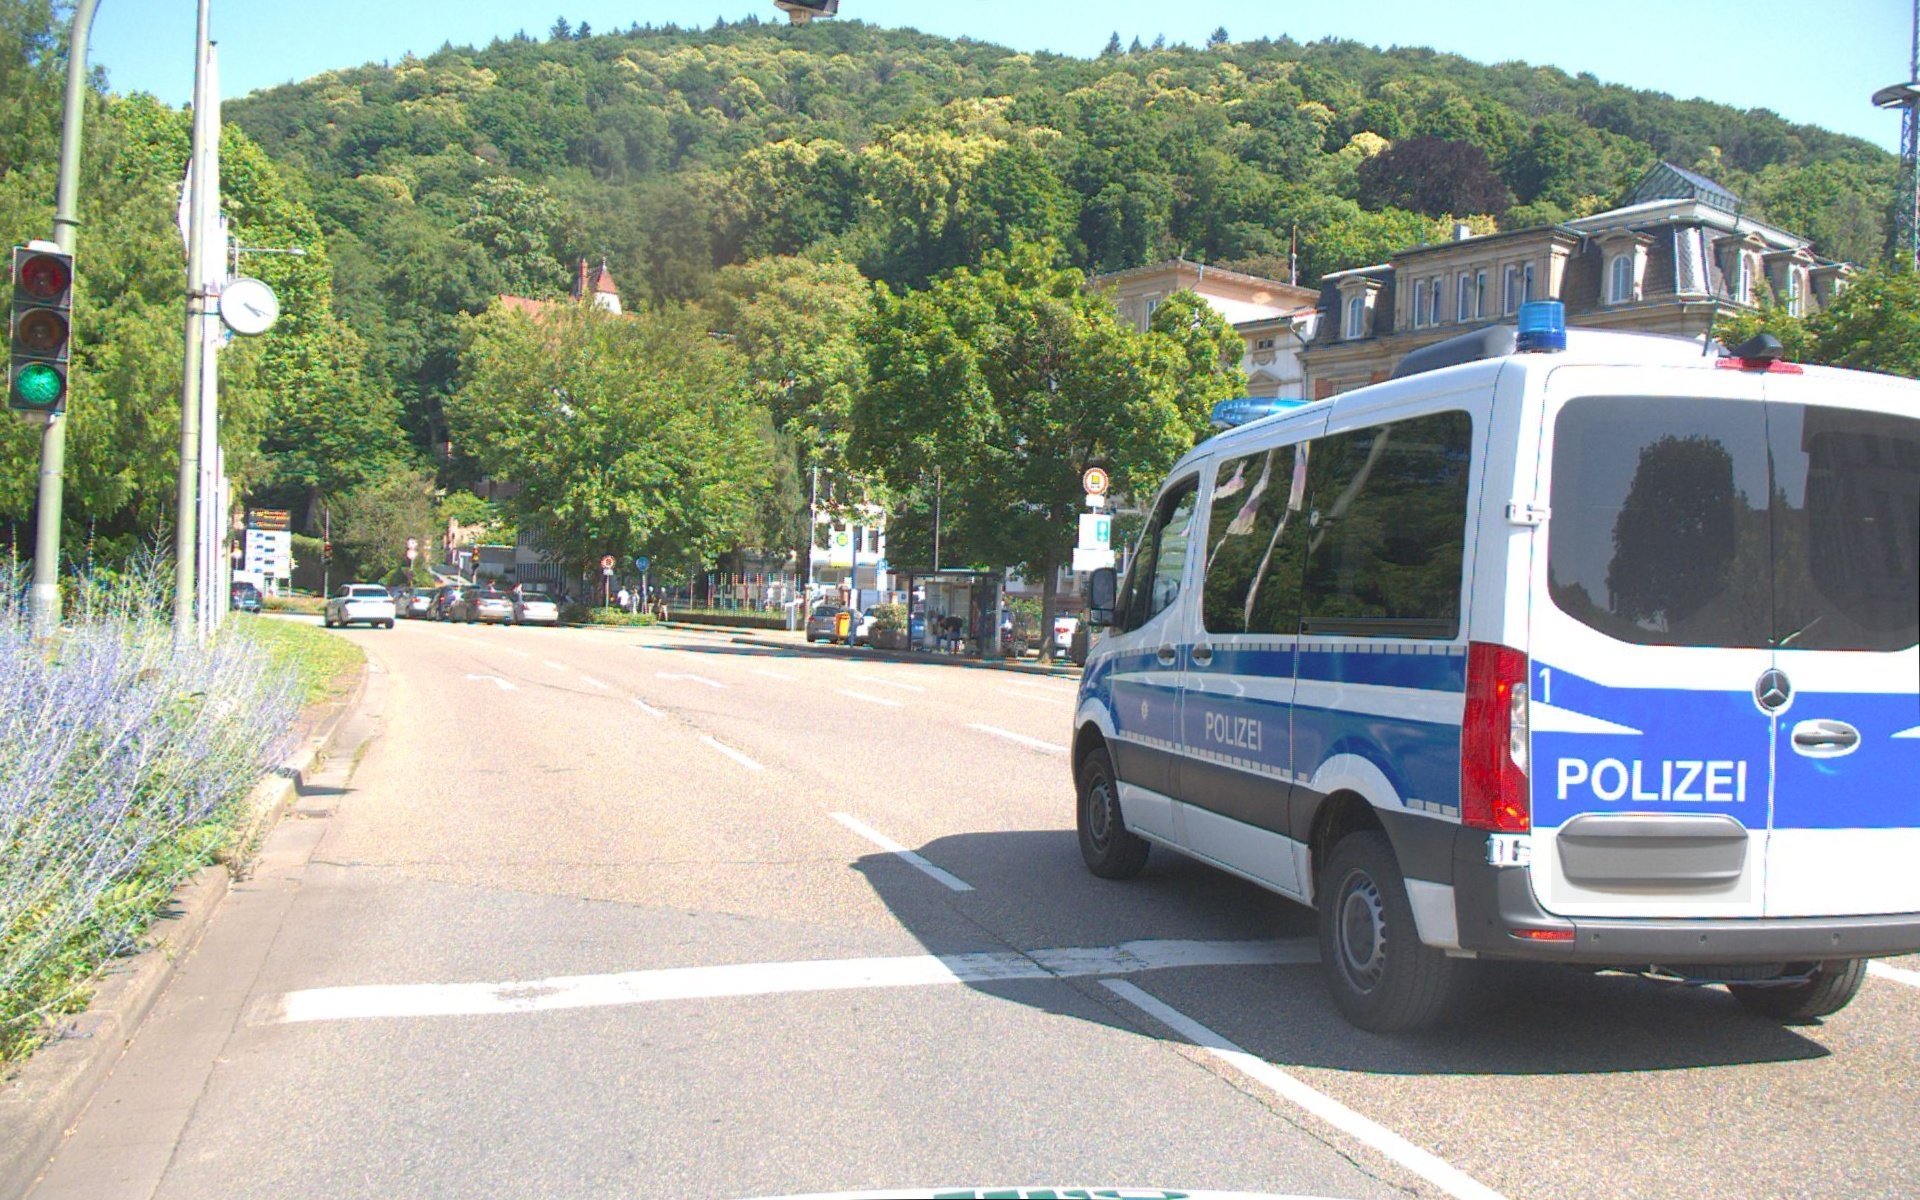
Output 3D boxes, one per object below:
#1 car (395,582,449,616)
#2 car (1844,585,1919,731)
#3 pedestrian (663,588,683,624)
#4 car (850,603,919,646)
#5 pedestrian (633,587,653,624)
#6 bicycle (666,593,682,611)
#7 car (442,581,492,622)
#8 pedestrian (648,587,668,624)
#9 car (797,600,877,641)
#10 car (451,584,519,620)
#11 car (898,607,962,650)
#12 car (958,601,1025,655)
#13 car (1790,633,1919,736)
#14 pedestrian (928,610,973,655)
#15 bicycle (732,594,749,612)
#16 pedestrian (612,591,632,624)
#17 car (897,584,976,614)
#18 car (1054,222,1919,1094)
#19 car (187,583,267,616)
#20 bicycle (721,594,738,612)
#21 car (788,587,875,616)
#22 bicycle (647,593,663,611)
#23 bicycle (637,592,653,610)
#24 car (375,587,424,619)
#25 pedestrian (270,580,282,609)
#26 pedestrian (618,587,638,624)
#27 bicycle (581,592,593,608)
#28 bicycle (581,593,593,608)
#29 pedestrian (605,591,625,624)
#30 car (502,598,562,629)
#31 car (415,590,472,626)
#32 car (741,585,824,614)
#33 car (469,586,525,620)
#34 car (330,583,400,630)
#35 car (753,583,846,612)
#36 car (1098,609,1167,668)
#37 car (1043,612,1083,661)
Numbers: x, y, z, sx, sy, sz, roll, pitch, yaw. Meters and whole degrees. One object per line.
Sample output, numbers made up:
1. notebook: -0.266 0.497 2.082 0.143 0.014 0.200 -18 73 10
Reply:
1. car: -25.083 -0.064 77.073 1.736 1.486 3.612 2 0 -28
2. car: 19.104 1.137 29.802 1.979 2.649 5.249 3 0 -37
3. pedestrian: -15.091 0.316 87.089 0.762 1.886 0.821 2 0 -29
4. car: -2.837 0.929 62.828 1.672 1.538 3.814 2 0 12
5. pedestrian: -16.532 0.287 86.231 0.762 1.886 0.821 2 0 -29
6. bicycle: -18.244 0.119 105.492 0.531 1.104 1.819 1 0 -26
7. car: -25.293 0.058 84.784 1.736 1.972 3.461 2 0 -28
8. pedestrian: -15.840 0.301 86.650 0.762 1.886 0.821 2 0 -29
9. car: -4.752 0.803 64.544 1.783 1.487 4.110 2 0 16
10. car: -19.471 0.056 67.711 1.739 1.357 3.761 2 0 -32
11. car: -1.064 1.024 60.332 1.672 1.467 3.814 2 0 9
12. car: 1.128 0.962 57.097 1.672 1.725 4.278 2 0 9
13. car: 17.012 1.494 28.193 1.804 1.655 4.814 3 0 -38
14. pedestrian: -0.260 0.921 46.701 0.777 1.218 1.015 2 0 41
15. bicycle: -14.252 0.198 107.245 0.531 1.104 1.819 1 0 -26
16. pedestrian: -17.955 0.408 87.899 0.762 1.692 0.822 2 0 -29
17. car: -1.376 -0.057 95.958 4.263 1.631 1.803 1 0 -31
18. car: 2.097 0.208 7.473 2.037 2.552 4.914 2 -1 -12
19. car: -34.905 -0.046 78.769 3.768 1.489 1.853 1 0 37
20. bicycle: -14.925 0.185 107.107 0.531 1.104 1.819 1 0 -26
21. car: -6.515 0.072 83.782 4.043 1.359 1.803 1 0 -31
22. bicycle: -19.357 0.097 105.035 0.531 1.104 1.819 1 0 -26
23. bicycle: -19.927 0.086 104.753 0.531 1.104 1.819 1 0 -26
24. car: -27.857 0.136 82.142 1.736 1.486 3.461 2 0 -28
25. pedestrian: -39.514 -0.322 95.536 0.538 1.649 0.631 1 0 -19
26. pedestrian: -17.216 0.272 85.813 0.762 1.886 0.821 2 0 -29
27. bicycle: -24.364 -0.016 108.096 0.400 1.030 1.329 1 0 -27
28. bicycle: -23.918 0.047 106.065 0.400 0.957 1.329 1 0 -27
29. pedestrian: -18.148 0.401 87.049 0.762 1.692 0.822 2 0 -27
30. car: -18.786 0.583 72.538 1.736 1.234 3.461 2 0 -28
31. car: -22.736 0.340 72.748 1.736 1.486 3.461 2 0 -28
32. car: -9.682 -0.037 90.332 4.105 1.501 1.856 1 0 -33
33. car: -21.533 0.135 76.874 1.736 1.486 3.612 2 0 -28
34. car: -20.264 0.200 56.233 1.820 1.486 3.464 2 0 -27
35. car: -8.304 -0.116 85.670 4.420 1.359 1.803 1 0 -31
36. car: 5.351 1.157 51.032 1.672 1.658 4.319 2 0 11
37. car: 3.352 1.180 53.713 1.172 1.508 2.290 2 0 6
